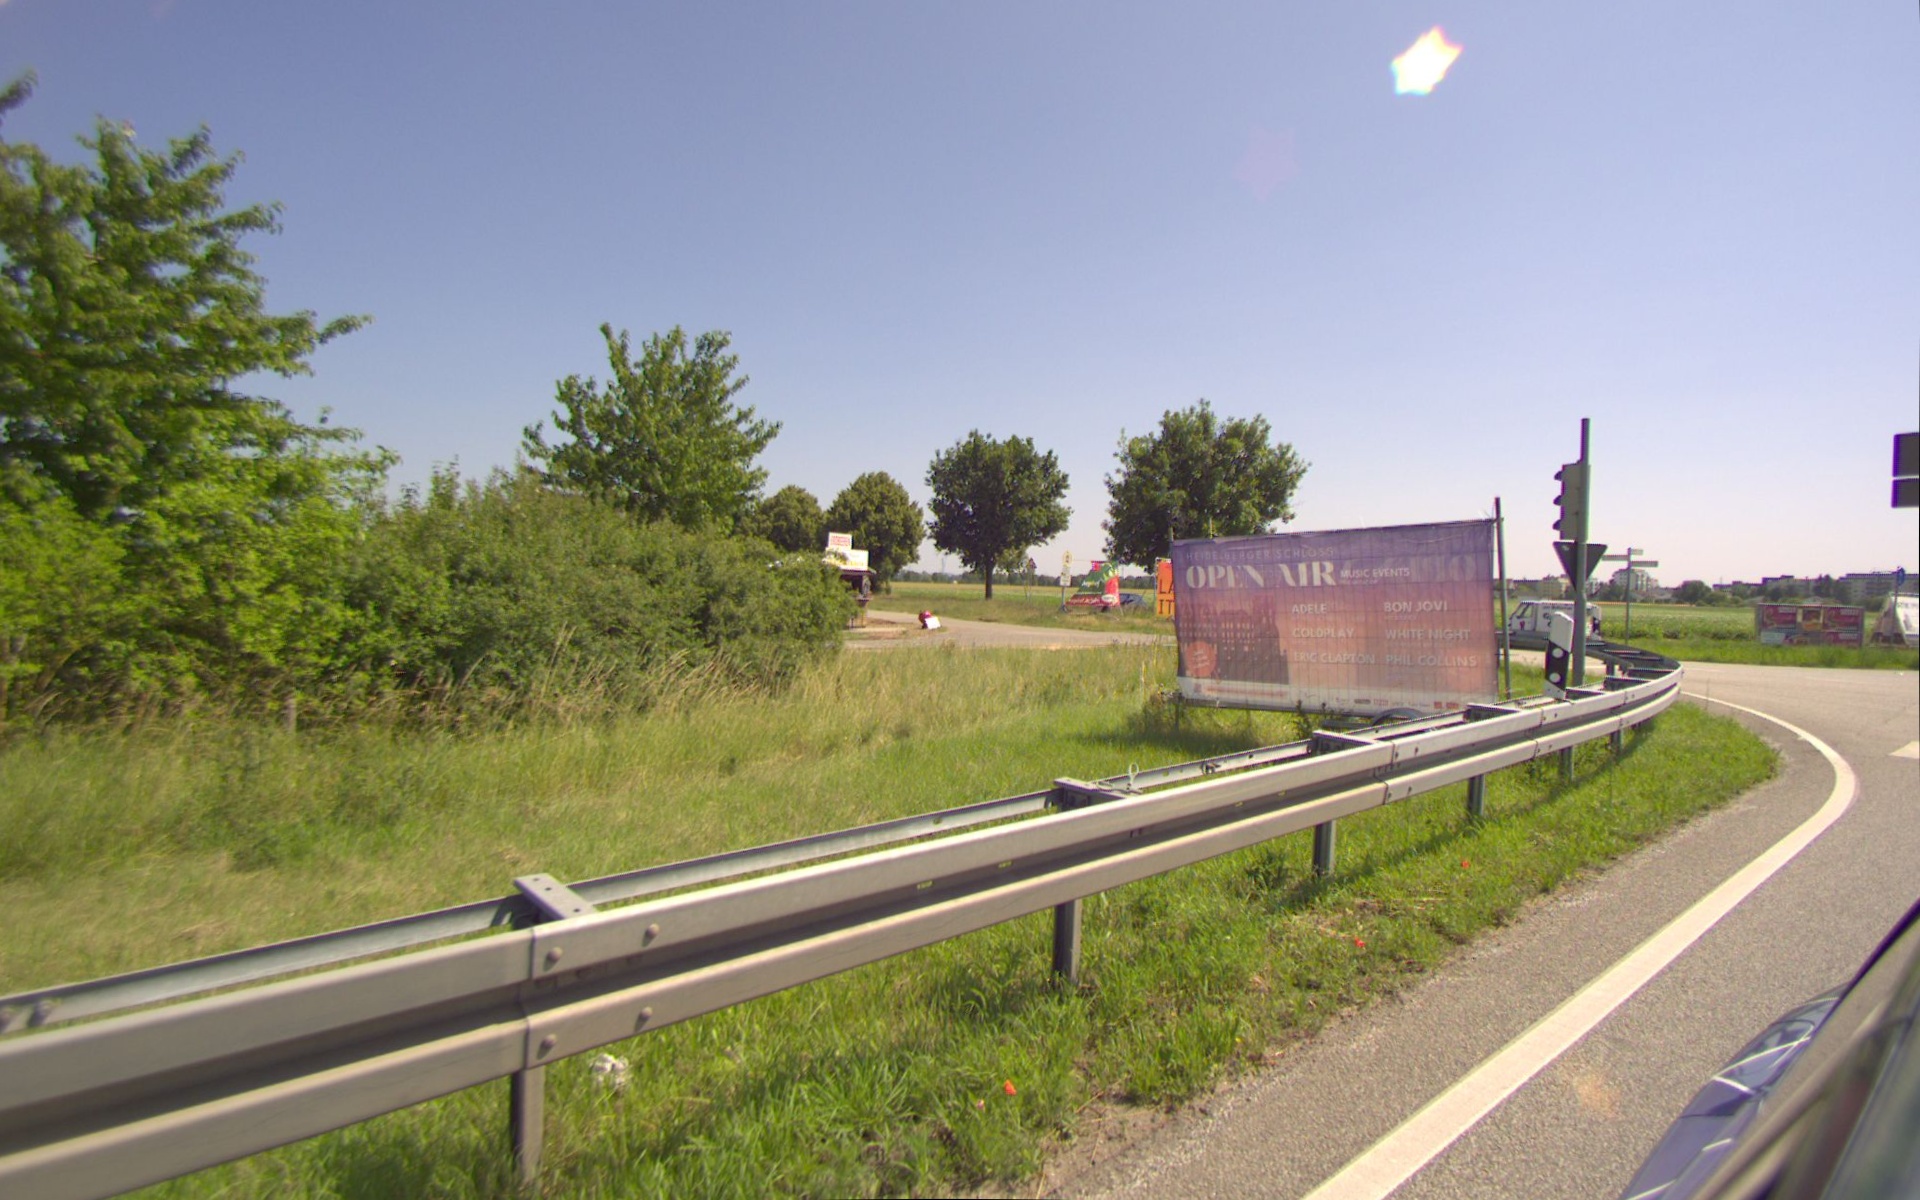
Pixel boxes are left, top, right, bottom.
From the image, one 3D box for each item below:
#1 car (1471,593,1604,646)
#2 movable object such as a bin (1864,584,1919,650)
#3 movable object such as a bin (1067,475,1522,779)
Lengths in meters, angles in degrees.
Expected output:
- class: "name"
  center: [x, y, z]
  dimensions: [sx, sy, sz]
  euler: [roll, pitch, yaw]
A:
- class: "car"
  center: [17.780, 0.563, 31.239]
  dimensions: [1.378, 1.518, 3.338]
  euler: [0, 0, -44]
- class: "movable object such as a bin"
  center: [36.268, 0.606, 38.051]
  dimensions: [4.331, 2.393, 1.529]
  euler: [0, -1, -20]
- class: "movable object such as a bin"
  center: [3.000, 0.221, 9.820]
  dimensions: [1.256, 2.361, 4.098]
  euler: [0, -1, -42]
